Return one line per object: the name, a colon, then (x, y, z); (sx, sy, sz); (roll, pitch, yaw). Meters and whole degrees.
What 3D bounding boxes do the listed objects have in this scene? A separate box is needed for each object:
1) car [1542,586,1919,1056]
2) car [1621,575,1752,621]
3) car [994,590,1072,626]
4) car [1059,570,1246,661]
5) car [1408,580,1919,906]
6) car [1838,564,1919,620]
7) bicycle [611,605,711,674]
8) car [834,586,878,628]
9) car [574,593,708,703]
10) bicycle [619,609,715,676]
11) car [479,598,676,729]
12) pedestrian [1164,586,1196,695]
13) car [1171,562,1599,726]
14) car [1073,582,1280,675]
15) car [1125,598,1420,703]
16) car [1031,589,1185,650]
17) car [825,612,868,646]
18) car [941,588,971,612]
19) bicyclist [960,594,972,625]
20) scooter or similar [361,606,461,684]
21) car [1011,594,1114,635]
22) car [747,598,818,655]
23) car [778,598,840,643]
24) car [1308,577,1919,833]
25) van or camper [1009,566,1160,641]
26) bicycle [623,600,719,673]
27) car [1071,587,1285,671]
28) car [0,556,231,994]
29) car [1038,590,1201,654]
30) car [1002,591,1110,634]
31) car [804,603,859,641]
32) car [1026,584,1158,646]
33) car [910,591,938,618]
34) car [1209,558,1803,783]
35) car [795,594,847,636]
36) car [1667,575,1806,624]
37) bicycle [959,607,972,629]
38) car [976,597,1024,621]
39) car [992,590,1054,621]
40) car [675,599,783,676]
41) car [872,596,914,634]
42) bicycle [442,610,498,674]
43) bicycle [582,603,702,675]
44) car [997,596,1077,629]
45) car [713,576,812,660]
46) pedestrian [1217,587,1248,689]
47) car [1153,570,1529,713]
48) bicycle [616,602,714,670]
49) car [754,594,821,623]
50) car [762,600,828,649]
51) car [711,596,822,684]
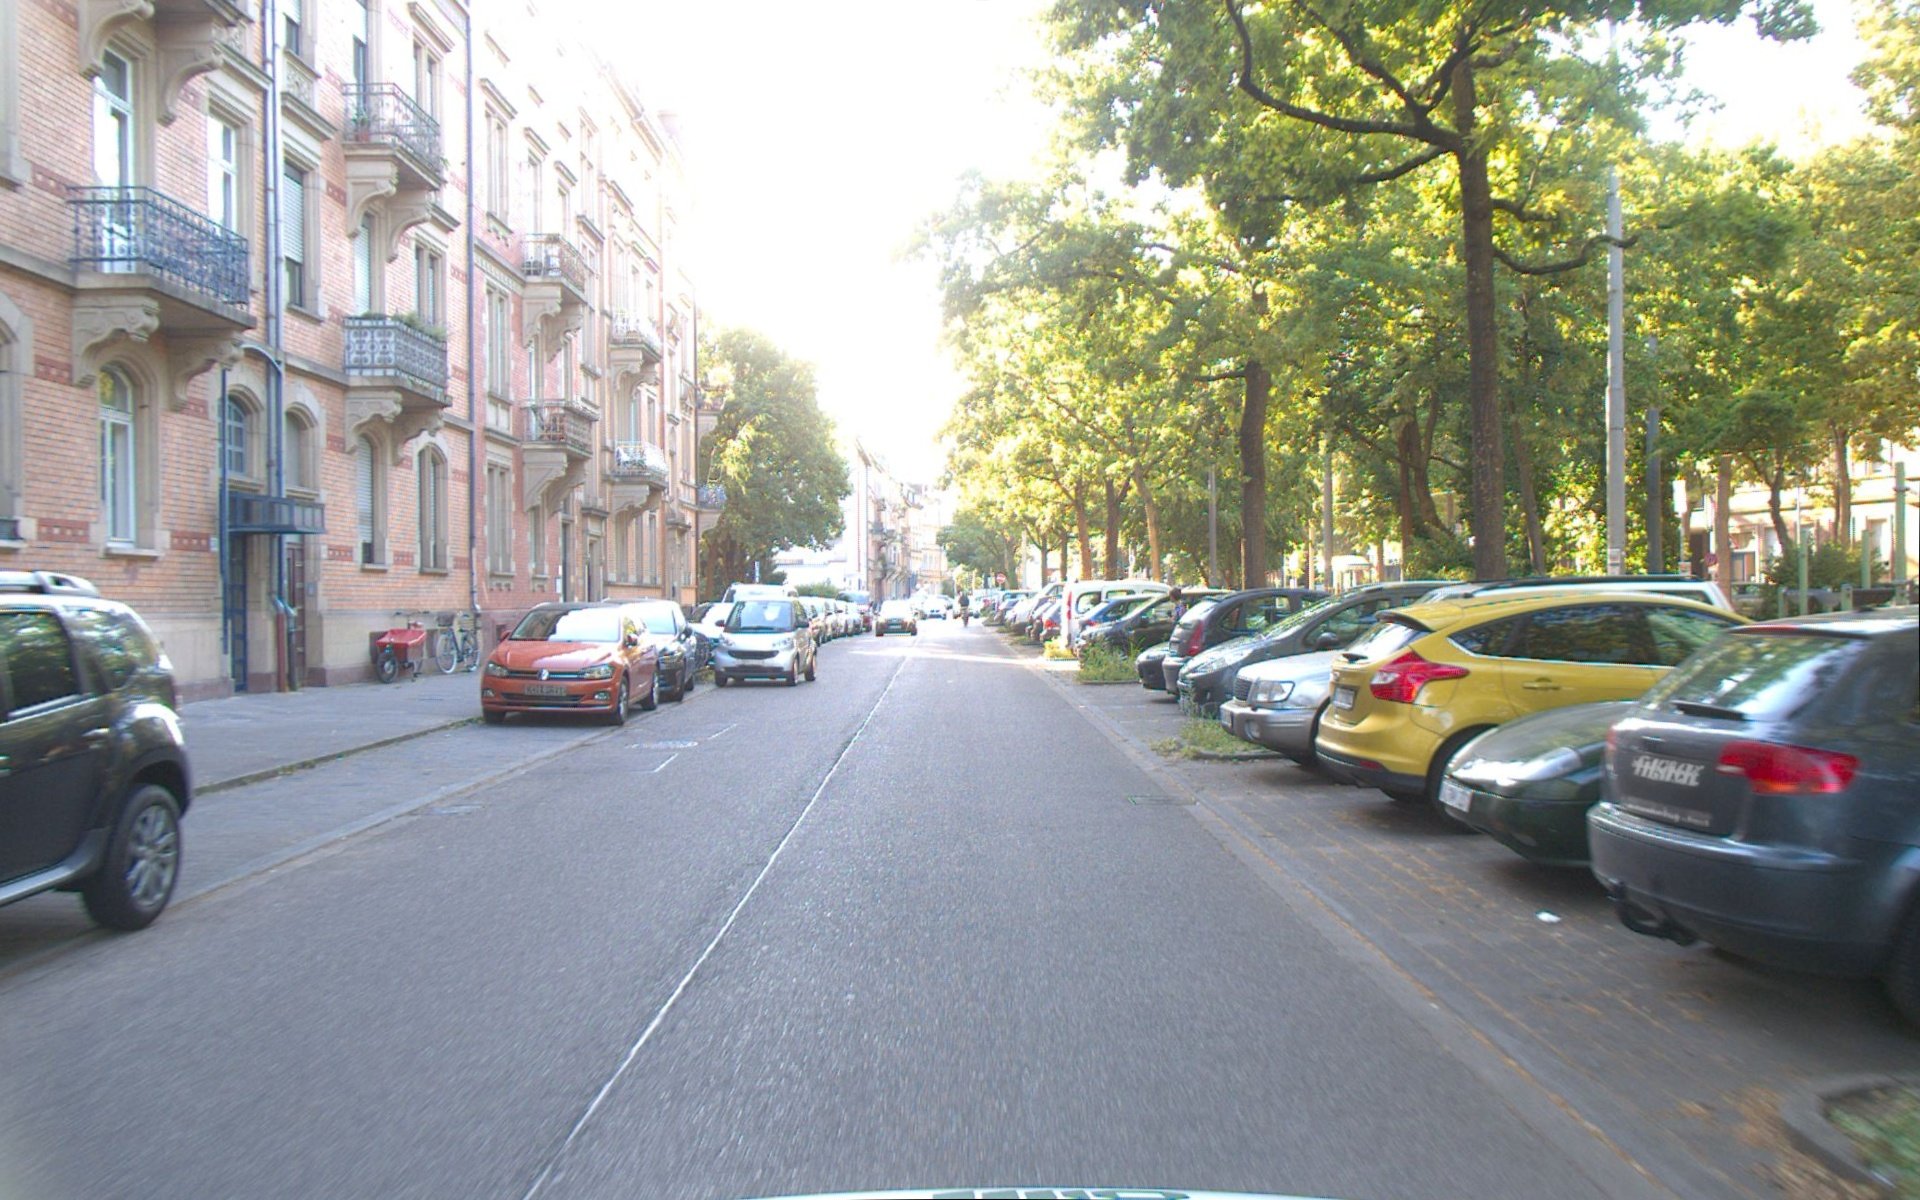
car: (4.673, 0.650, 6.194); (4.310, 1.465, 1.837); (-2, -1, -2)
car: (28.273, -0.055, 64.501); (4.604, 1.713, 1.999); (0, -2, 23)
car: (3.772, 0.442, 86.213); (3.907, 1.825, 1.858); (0, -2, -3)
car: (4.478, 0.357, 38.856); (4.133, 1.896, 1.762); (-3, 0, 1)
car: (4.736, 0.644, 8.594); (4.308, 1.465, 1.838); (-2, -1, 2)
car: (30.486, -0.240, 52.981); (3.904, 1.713, 2.000); (0, -2, 19)
bicycle: (-5.433, 0.719, 30.109); (1.727, 1.236, 0.441); (0, -2, -1)
car: (-5.138, 0.344, 82.173); (1.917, 2.053, 4.267); (0, 0, -1)
car: (-4.954, 0.711, 26.125); (1.713, 1.573, 4.146); (1, 0, -6)
bicycle: (-5.506, 0.797, 31.132); (1.727, 1.236, 0.428); (0, -2, -1)
car: (-4.835, 0.748, 21.430); (1.718, 1.489, 3.998); (2, 0, -2)
pedestrian: (3.330, 0.607, 25.048); (0.372, 1.612, 0.519); (0, 2, 19)
car: (4.647, 0.477, 18.566); (4.309, 1.619, 1.838); (-2, -1, 0)
car: (3.979, 0.516, 30.863); (3.599, 1.527, 1.762); (-3, 0, 1)
car: (4.295, 0.684, 23.132); (3.765, 1.301, 1.690); (-2, 0, -1)
car: (4.095, 0.534, 46.297); (4.133, 1.478, 1.865); (-3, 0, 1)
car: (-5.227, 1.308, 76.632); (1.720, 1.491, 4.267); (0, 0, -1)
car: (-0.290, 0.007, 119.930); (1.744, 1.703, 4.481); (0, 0, -6)
bicyclist: (0.308, 0.515, 87.968); (0.615, 1.601, 0.802); (0, -2, -2)
scooter or similar: (-9.153, 0.756, 27.720); (0.767, 1.244, 2.703); (0, -2, 0)
car: (4.072, 0.583, 65.927); (3.907, 1.575, 1.858); (0, -2, -3)
car: (-4.975, 0.707, 46.779); (1.636, 1.512, 3.999); (1, 0, -1)
car: (-5.211, 0.674, 57.446); (1.668, 1.454, 3.878); (1, 0, 1)
car: (4.663, 0.642, 11.032); (4.308, 1.465, 1.838); (-2, -1, 2)
van or camper: (4.178, 0.144, 55.937); (4.881, 2.419, 2.184); (0, -2, -2)
bicycle: (-5.528, 0.702, 31.660); (1.727, 1.371, 0.495); (0, -2, -1)
car: (4.366, 0.564, 33.468); (4.000, 1.467, 1.760); (-3, 0, -3)
car: (-4.656, 0.689, 6.539); (1.716, 1.736, 4.200); (0, 0, -1)
car: (4.163, 0.568, 43.402); (4.131, 1.478, 1.649); (-3, 0, 4)
car: (3.951, 0.542, 68.543); (4.302, 1.729, 1.858); (0, -2, -3)
car: (-5.239, 0.890, 67.977); (1.720, 1.491, 4.269); (0, 0, 3)
car: (4.055, 0.448, 51.373); (3.905, 1.721, 1.859); (-3, 0, 1)
car: (-2.544, 0.344, 118.230); (1.953, 1.870, 3.998); (0, -2, -1)
car: (4.391, 0.553, 13.789); (4.310, 1.619, 1.837); (-2, -1, -1)
car: (-5.309, 0.545, 63.497); (1.721, 1.542, 4.160); (0, 0, -1)
car: (28.870, 0.008, 61.693); (4.604, 1.713, 1.999); (0, -2, 23)
bicycle: (0.304, 0.980, 88.006); (0.628, 1.119, 1.943); (0, -2, -1)
car: (3.501, 0.774, 143.696); (3.902, 2.049, 2.001); (0, -2, 11)
car: (4.284, 0.392, 112.173); (3.902, 2.049, 2.001); (0, -2, 11)
car: (-4.869, 0.760, 35.389); (1.640, 1.480, 4.210); (-2, 0, 0)
car: (-2.801, 0.625, 69.631); (1.634, 1.489, 3.999); (-2, 0, -1)
bicycle: (-9.108, 0.780, 30.801); (0.418, 1.150, 1.769); (0, -2, 3)
bicycle: (-5.607, 0.695, 29.193); (2.054, 1.236, 0.439); (1, -2, -16)
car: (3.872, 0.631, 83.539); (3.907, 1.591, 1.858); (0, -2, -3)
car: (-4.843, 0.488, 41.258); (1.953, 1.955, 5.038); (0, -2, -1)
pedestrian: (4.231, 0.585, 25.641); (0.372, 1.543, 0.519); (0, 2, 19)
car: (4.793, 0.509, 21.168); (4.314, 1.619, 1.836); (-2, -1, -5)
bicycle: (-5.453, 0.672, 30.626); (1.727, 1.236, 0.464); (0, -2, -1)
car: (-10.682, 0.537, 102.505); (3.905, 1.736, 2.000); (0, -2, 1)
car: (-5.145, 0.740, 52.010); (1.636, 1.454, 4.241); (0, 0, 0)
car: (-3.472, 0.690, 30.059); (1.472, 1.460, 2.754); (-2, 0, 4)
